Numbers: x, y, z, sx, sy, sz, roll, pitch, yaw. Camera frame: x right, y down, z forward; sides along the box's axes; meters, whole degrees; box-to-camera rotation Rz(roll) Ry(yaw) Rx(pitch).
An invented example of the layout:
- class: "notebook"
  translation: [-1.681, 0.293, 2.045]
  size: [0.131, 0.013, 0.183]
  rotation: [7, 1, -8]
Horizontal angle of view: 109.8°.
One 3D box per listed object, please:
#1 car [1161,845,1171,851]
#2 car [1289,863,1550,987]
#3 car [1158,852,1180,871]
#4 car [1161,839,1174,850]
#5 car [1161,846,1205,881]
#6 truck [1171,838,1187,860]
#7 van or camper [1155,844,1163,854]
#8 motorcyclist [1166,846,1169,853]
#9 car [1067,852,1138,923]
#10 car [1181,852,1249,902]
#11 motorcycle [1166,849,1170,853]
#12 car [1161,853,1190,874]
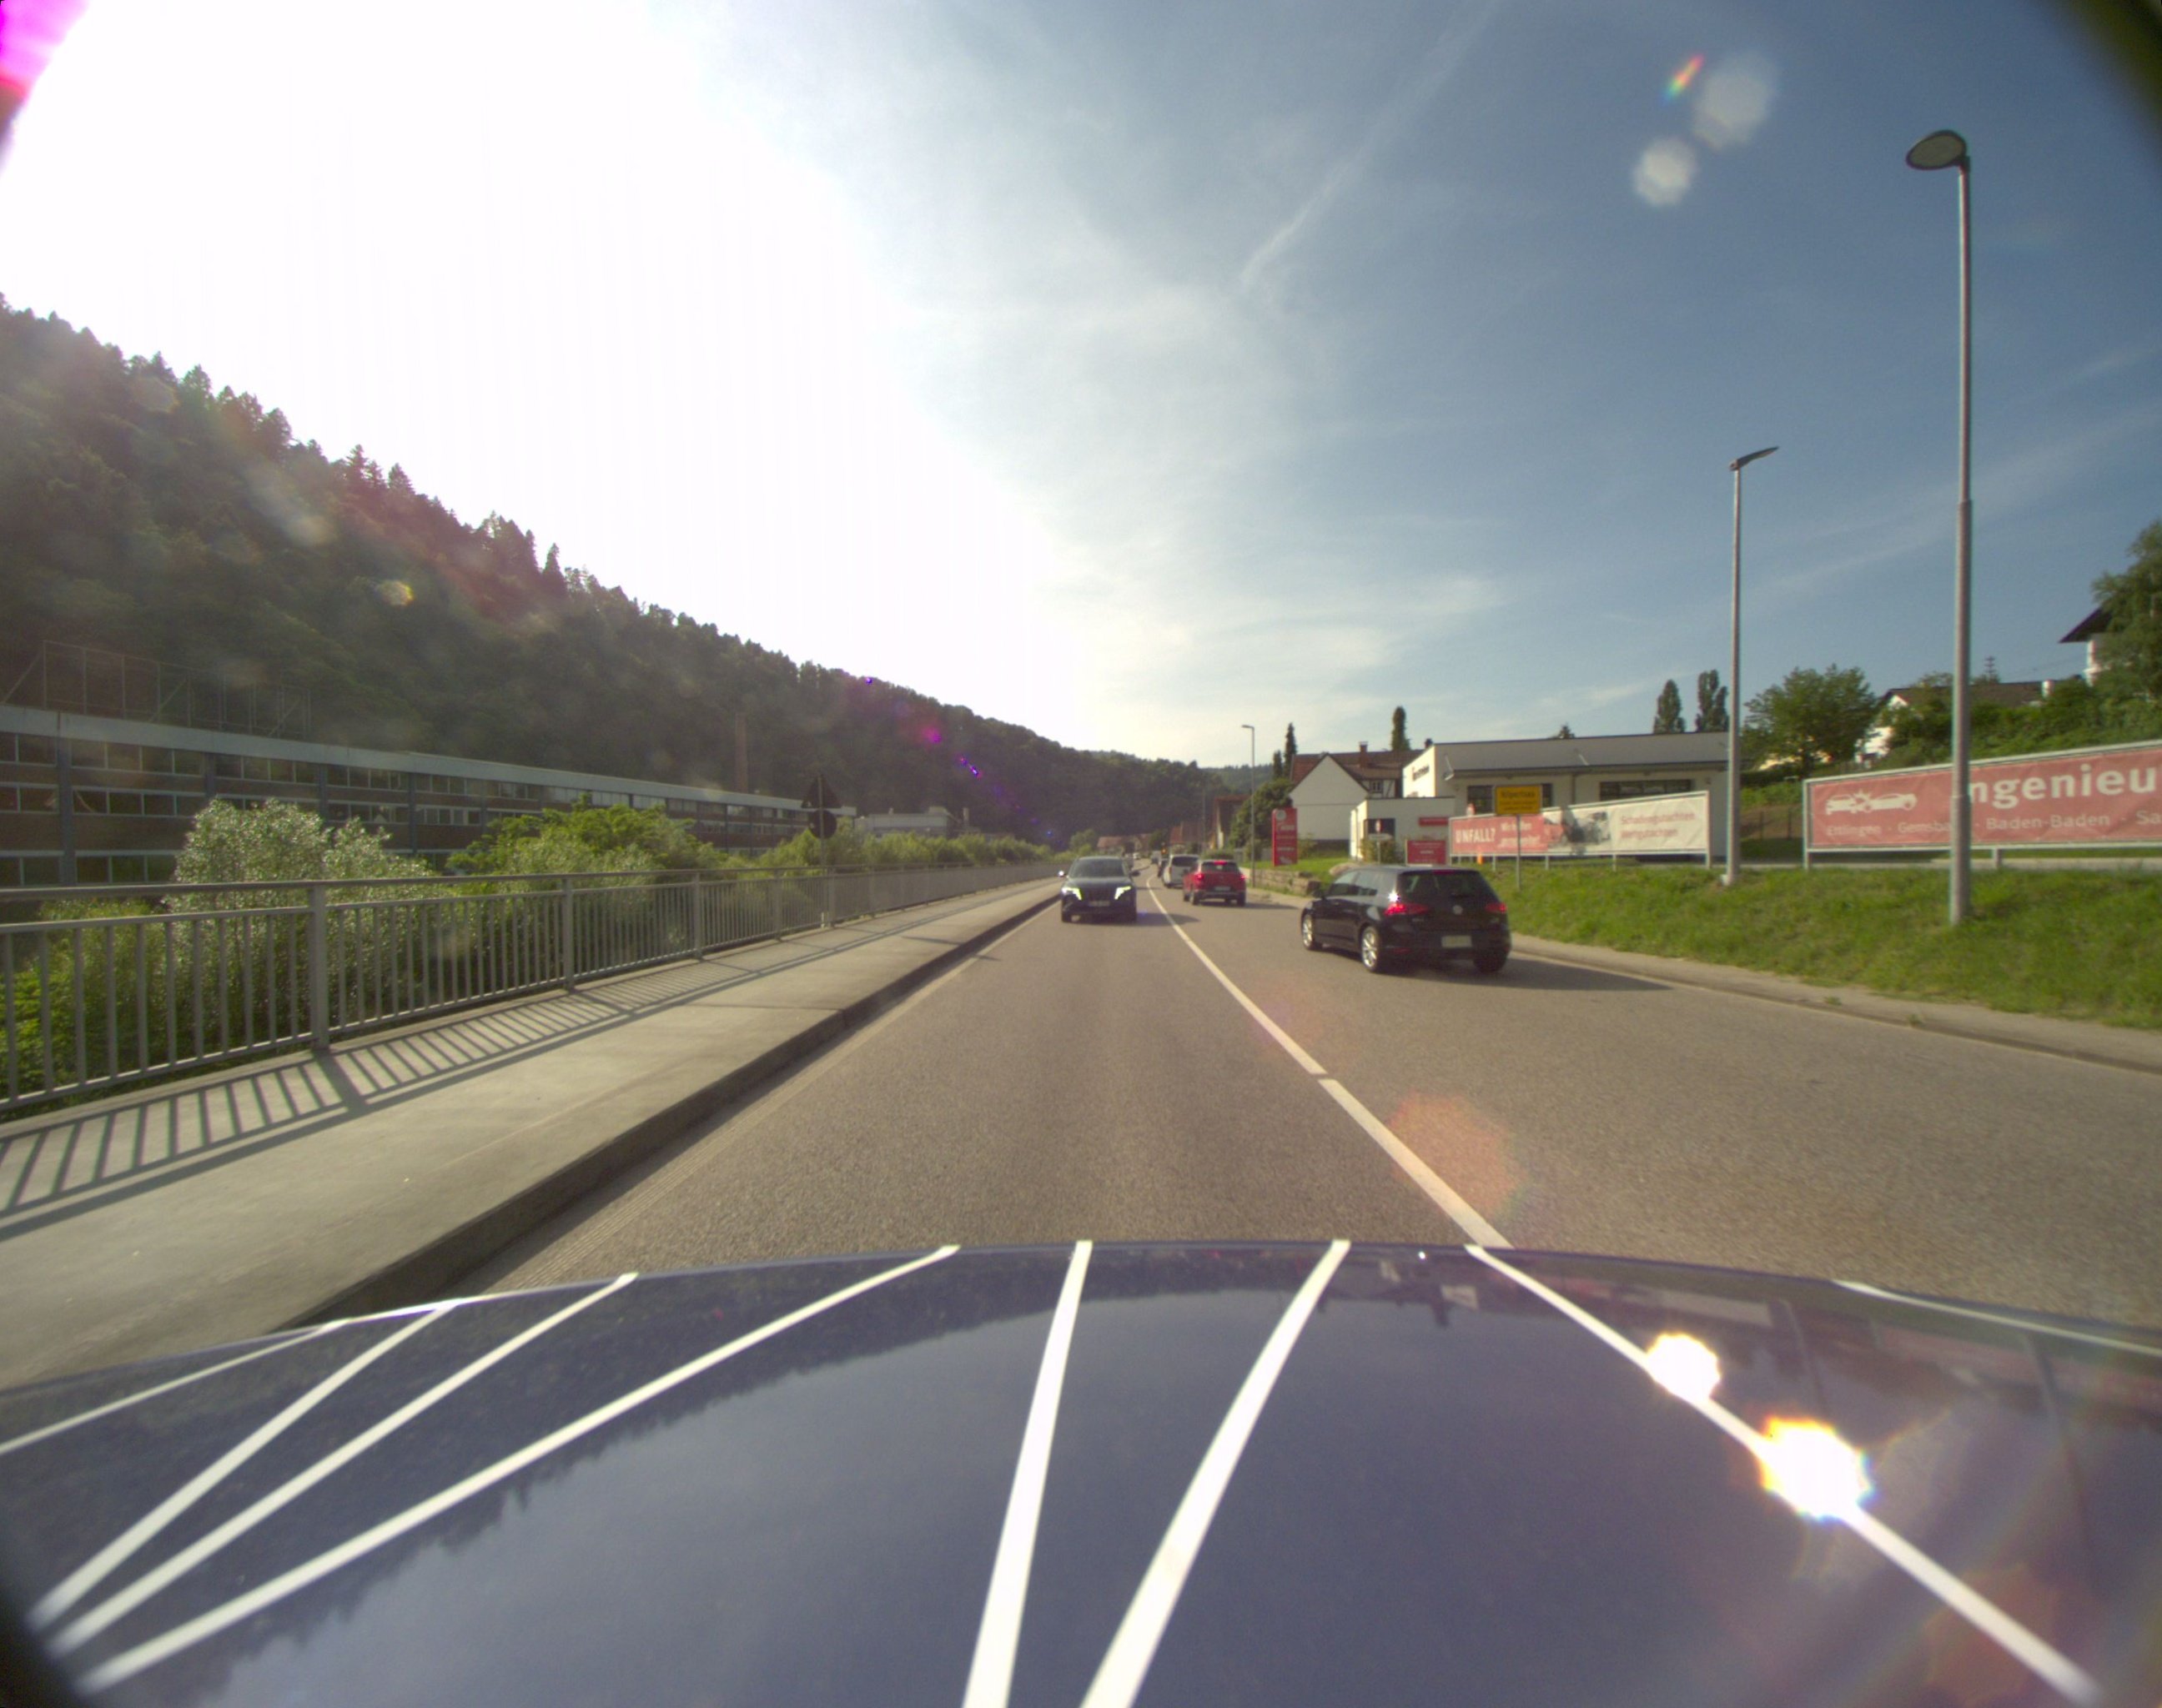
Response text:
- class: "car"
  translation: [22.799, -1.504, 203.758]
  size: [1.632, 1.476, 4.004]
  rotation: [-3, 1, 18]
- class: "car"
  translation: [4.603, 0.861, 11.129]
  size: [1.780, 1.399, 4.271]
  rotation: [-1, 0, -2]
- class: "car"
  translation: [7.758, 0.619, 67.111]
  size: [1.801, 1.609, 4.464]
  rotation: [-1, 0, 5]
- class: "car"
  translation: [16.862, -1.865, 148.773]
  size: [1.998, 2.002, 3.999]
  rotation: [-2, 1, 0]
- class: "car"
  translation: [5.703, 0.505, 42.930]
  size: [1.901, 1.876, 5.296]
  rotation: [0, 0, 1]
- class: "truck"
  translation: [18.138, -1.040, 141.378]
  size: [2.583, 3.909, 11.309]
  rotation: [0, 1, 6]
- class: "van or camper"
  translation: [22.908, -1.429, 222.820]
  size: [2.199, 2.921, 7.130]
  rotation: [-2, 0, 7]
- class: "motorcyclist"
  translation: [21.596, -1.094, 189.786]
  size: [0.827, 1.549, 0.628]
  rotation: [0, 2, 12]
- class: "car"
  translation: [0.495, 0.794, 19.942]
  size: [1.649, 1.639, 4.000]
  rotation: [-1, 0, 0]
- class: "car"
  translation: [4.640, 0.741, 26.798]
  size: [1.710, 1.574, 4.159]
  rotation: [1, 0, 1]
- class: "motorcycle"
  translation: [21.685, -0.676, 189.535]
  size: [0.655, 1.062, 2.183]
  rotation: [0, 1, 11]
- class: "car"
  translation: [6.795, 0.686, 55.041]
  size: [1.777, 1.390, 4.235]
  rotation: [0, -1, 3]
